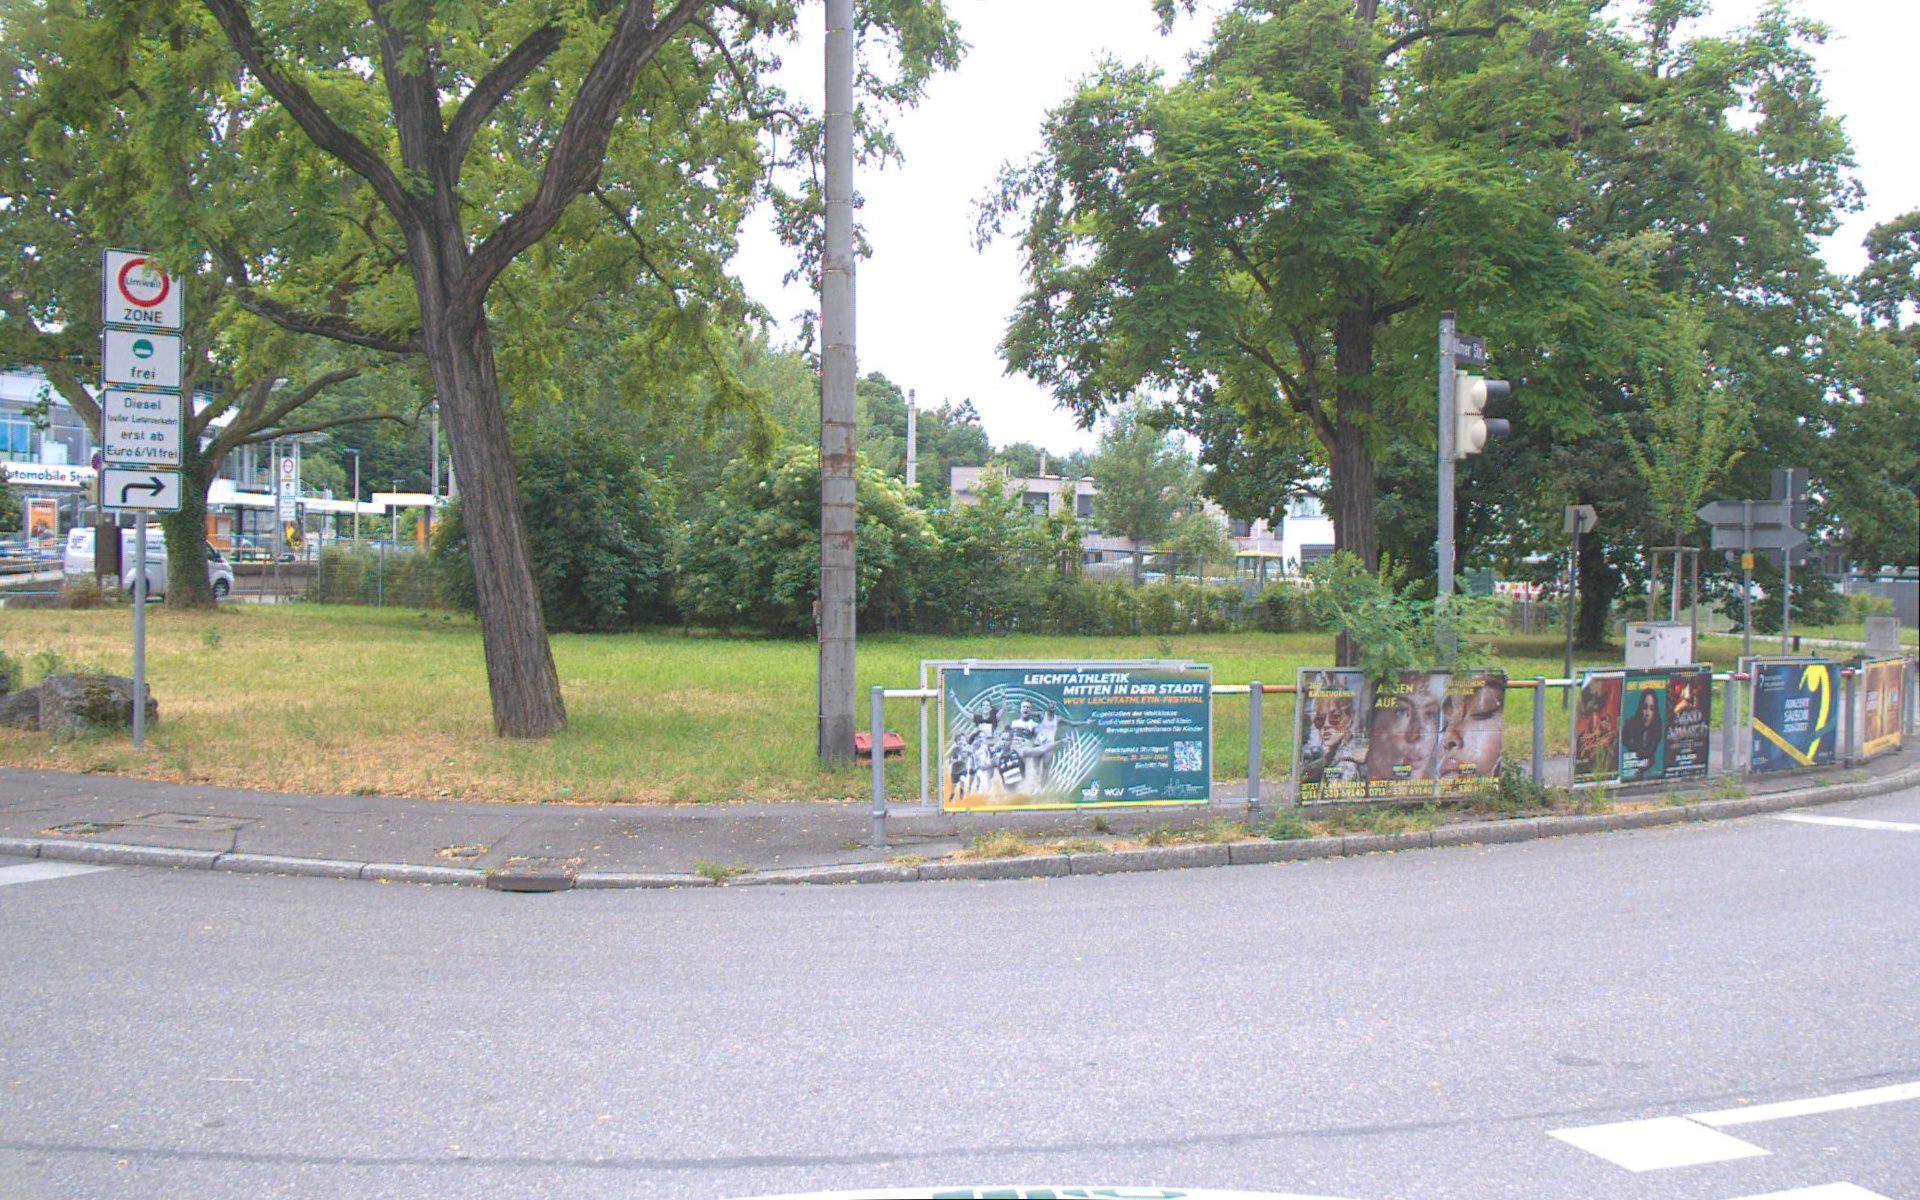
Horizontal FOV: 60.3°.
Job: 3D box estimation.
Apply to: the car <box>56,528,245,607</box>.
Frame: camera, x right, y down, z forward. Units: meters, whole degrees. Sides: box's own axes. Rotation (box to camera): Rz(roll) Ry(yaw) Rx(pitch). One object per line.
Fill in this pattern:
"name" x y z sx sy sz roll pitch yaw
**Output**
"car" -22.886 -0.926 47.048 1.924 2.048 5.306 2 1 12
